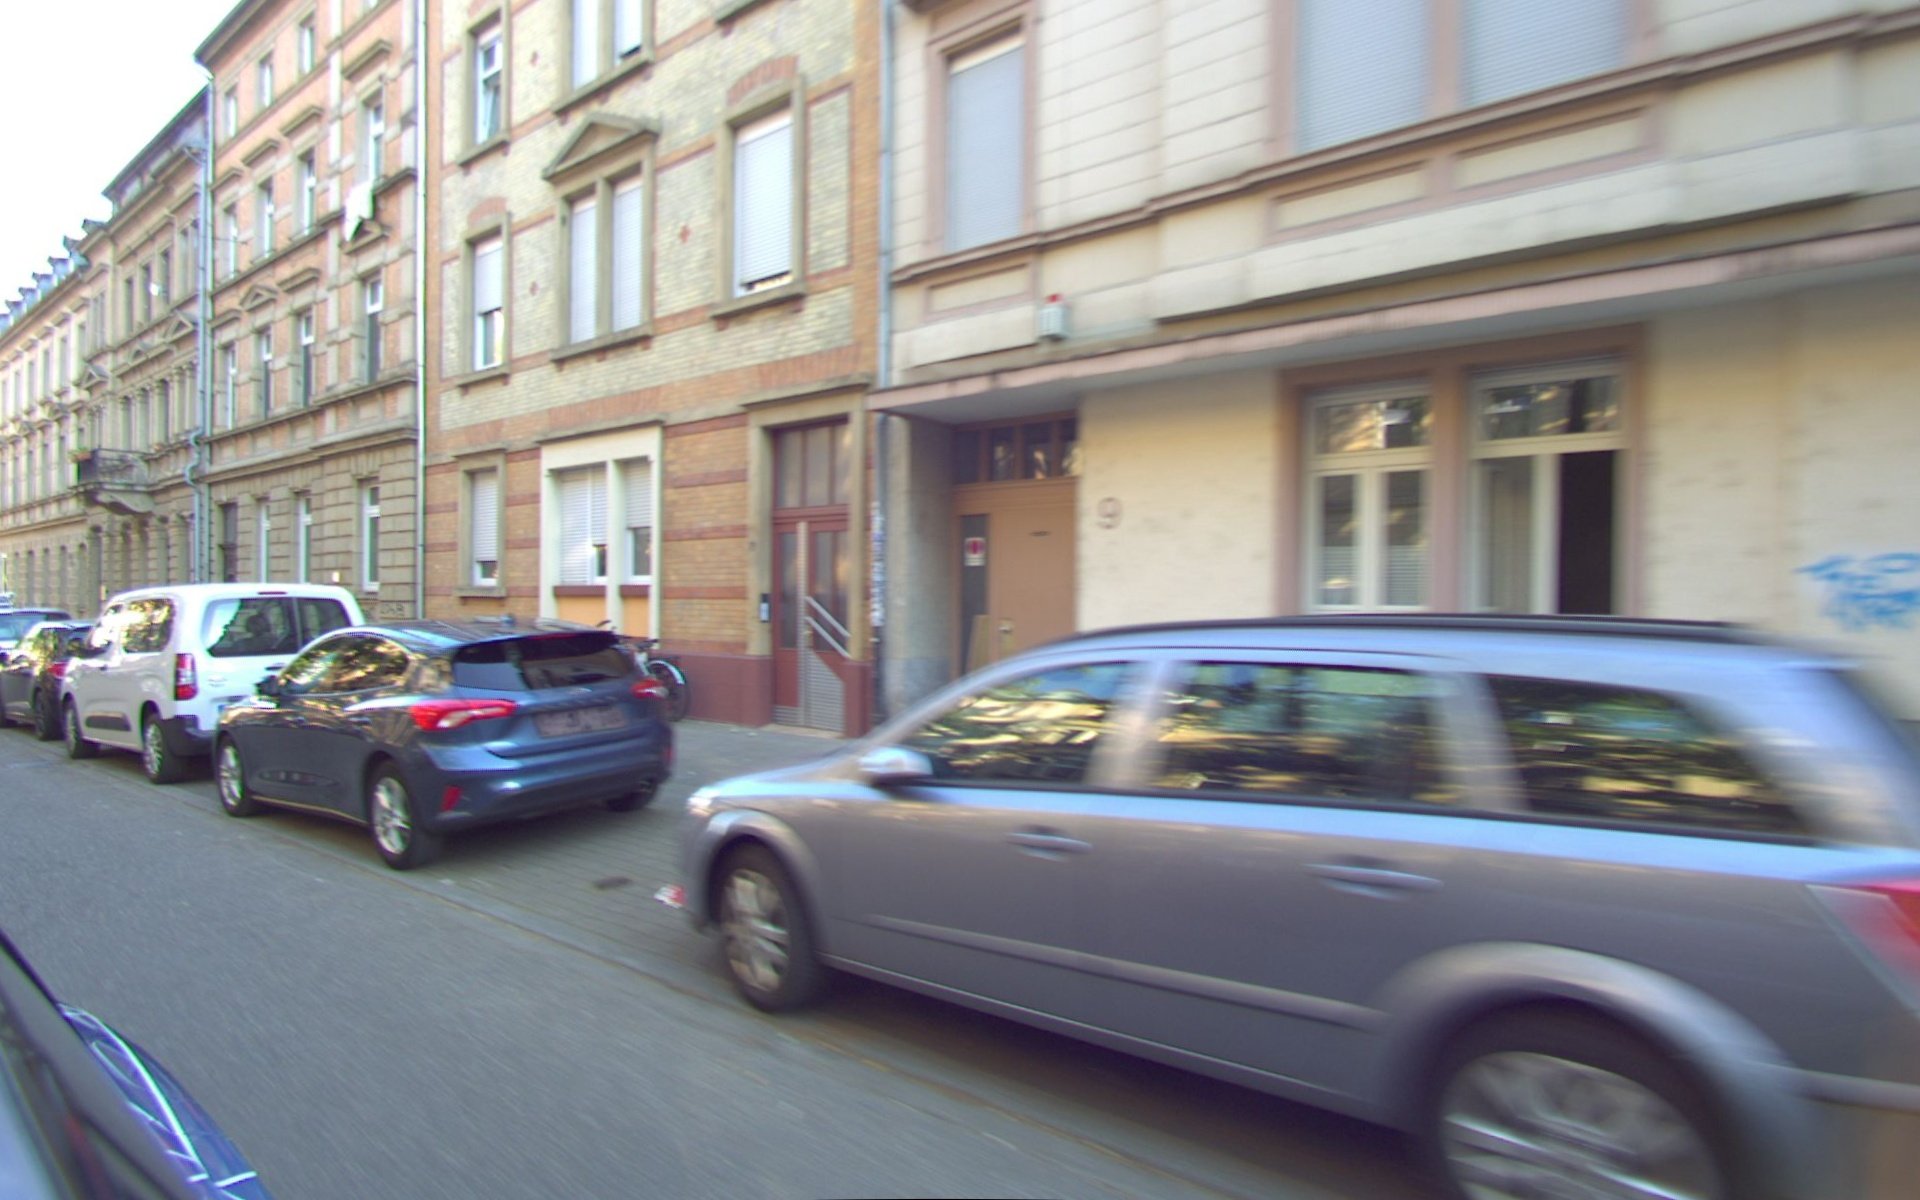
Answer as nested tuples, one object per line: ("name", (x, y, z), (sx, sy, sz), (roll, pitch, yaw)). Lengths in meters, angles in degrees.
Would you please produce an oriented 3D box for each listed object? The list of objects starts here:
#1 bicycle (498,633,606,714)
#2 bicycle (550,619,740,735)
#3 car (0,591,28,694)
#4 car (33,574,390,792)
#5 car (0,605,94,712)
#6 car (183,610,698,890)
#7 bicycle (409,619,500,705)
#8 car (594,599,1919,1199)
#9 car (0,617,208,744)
("bicycle", (-5.692, 0.985, 14.073), (1.906, 1.031, 0.489), (-1, 0, 38))
("bicycle", (-3.890, 0.889, 12.364), (2.661, 1.290, 0.623), (-1, -1, 32))
("car", (-21.542, 0.887, 21.441), (4.739, 2.072, 1.923), (-1, 0, 39))
("car", (-8.023, 0.716, 10.686), (4.599, 1.847, 1.825), (-1, 0, 37))
("car", (-16.682, 0.955, 17.569), (4.152, 1.670, 1.750), (-1, 0, 39))
("car", (-3.946, 0.827, 7.382), (4.238, 1.484, 1.730), (-1, -1, 38))
("bicycle", (-7.969, 0.944, 15.923), (1.906, 1.267, 0.489), (-1, 0, 38))
("car", (0.849, 0.747, 3.561), (4.535, 1.455, 1.869), (-1, -1, 37))
("car", (-11.725, 0.972, 13.582), (3.818, 1.432, 1.622), (-1, 0, 37))
